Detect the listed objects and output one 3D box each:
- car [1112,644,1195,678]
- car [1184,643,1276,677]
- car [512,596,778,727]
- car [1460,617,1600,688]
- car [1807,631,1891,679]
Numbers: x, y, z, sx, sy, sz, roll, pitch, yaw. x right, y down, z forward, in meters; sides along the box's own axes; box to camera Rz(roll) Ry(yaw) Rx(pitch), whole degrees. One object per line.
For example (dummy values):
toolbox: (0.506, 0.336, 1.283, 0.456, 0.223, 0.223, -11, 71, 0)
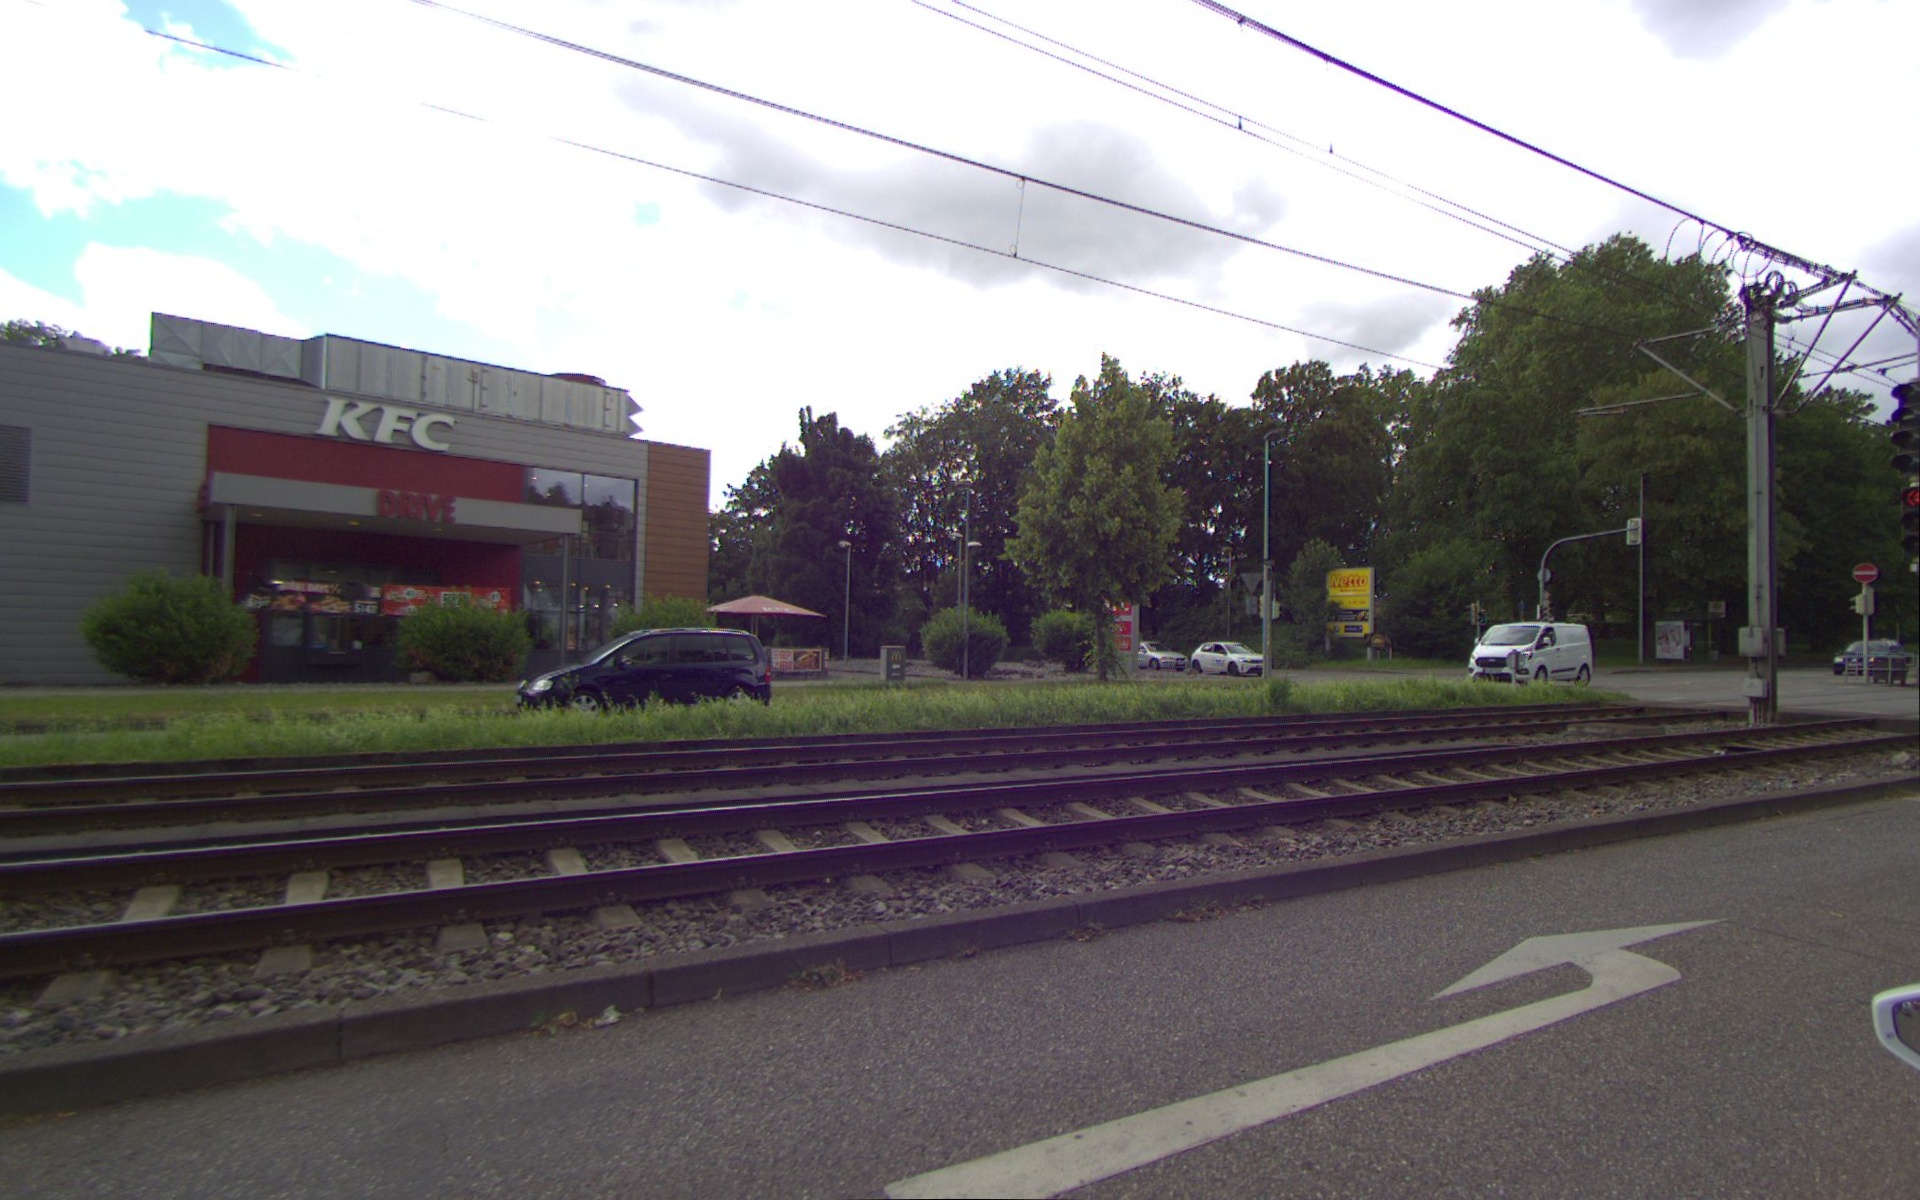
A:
car: (9.433, 2.939, 49.184, 1.827, 1.572, 3.966, 2, -3, -32)
car: (11.807, 2.605, 44.083, 1.823, 1.426, 3.866, 2, -3, -26)
car: (-5.512, 1.057, 17.709, 4.065, 2.040, 1.981, 2, -3, -35)
car: (17.709, 1.627, 31.125, 4.839, 2.040, 1.980, 2, -3, -36)
car: (37.562, 2.315, 42.412, 3.959, 1.885, 1.686, 2, 0, -34)
